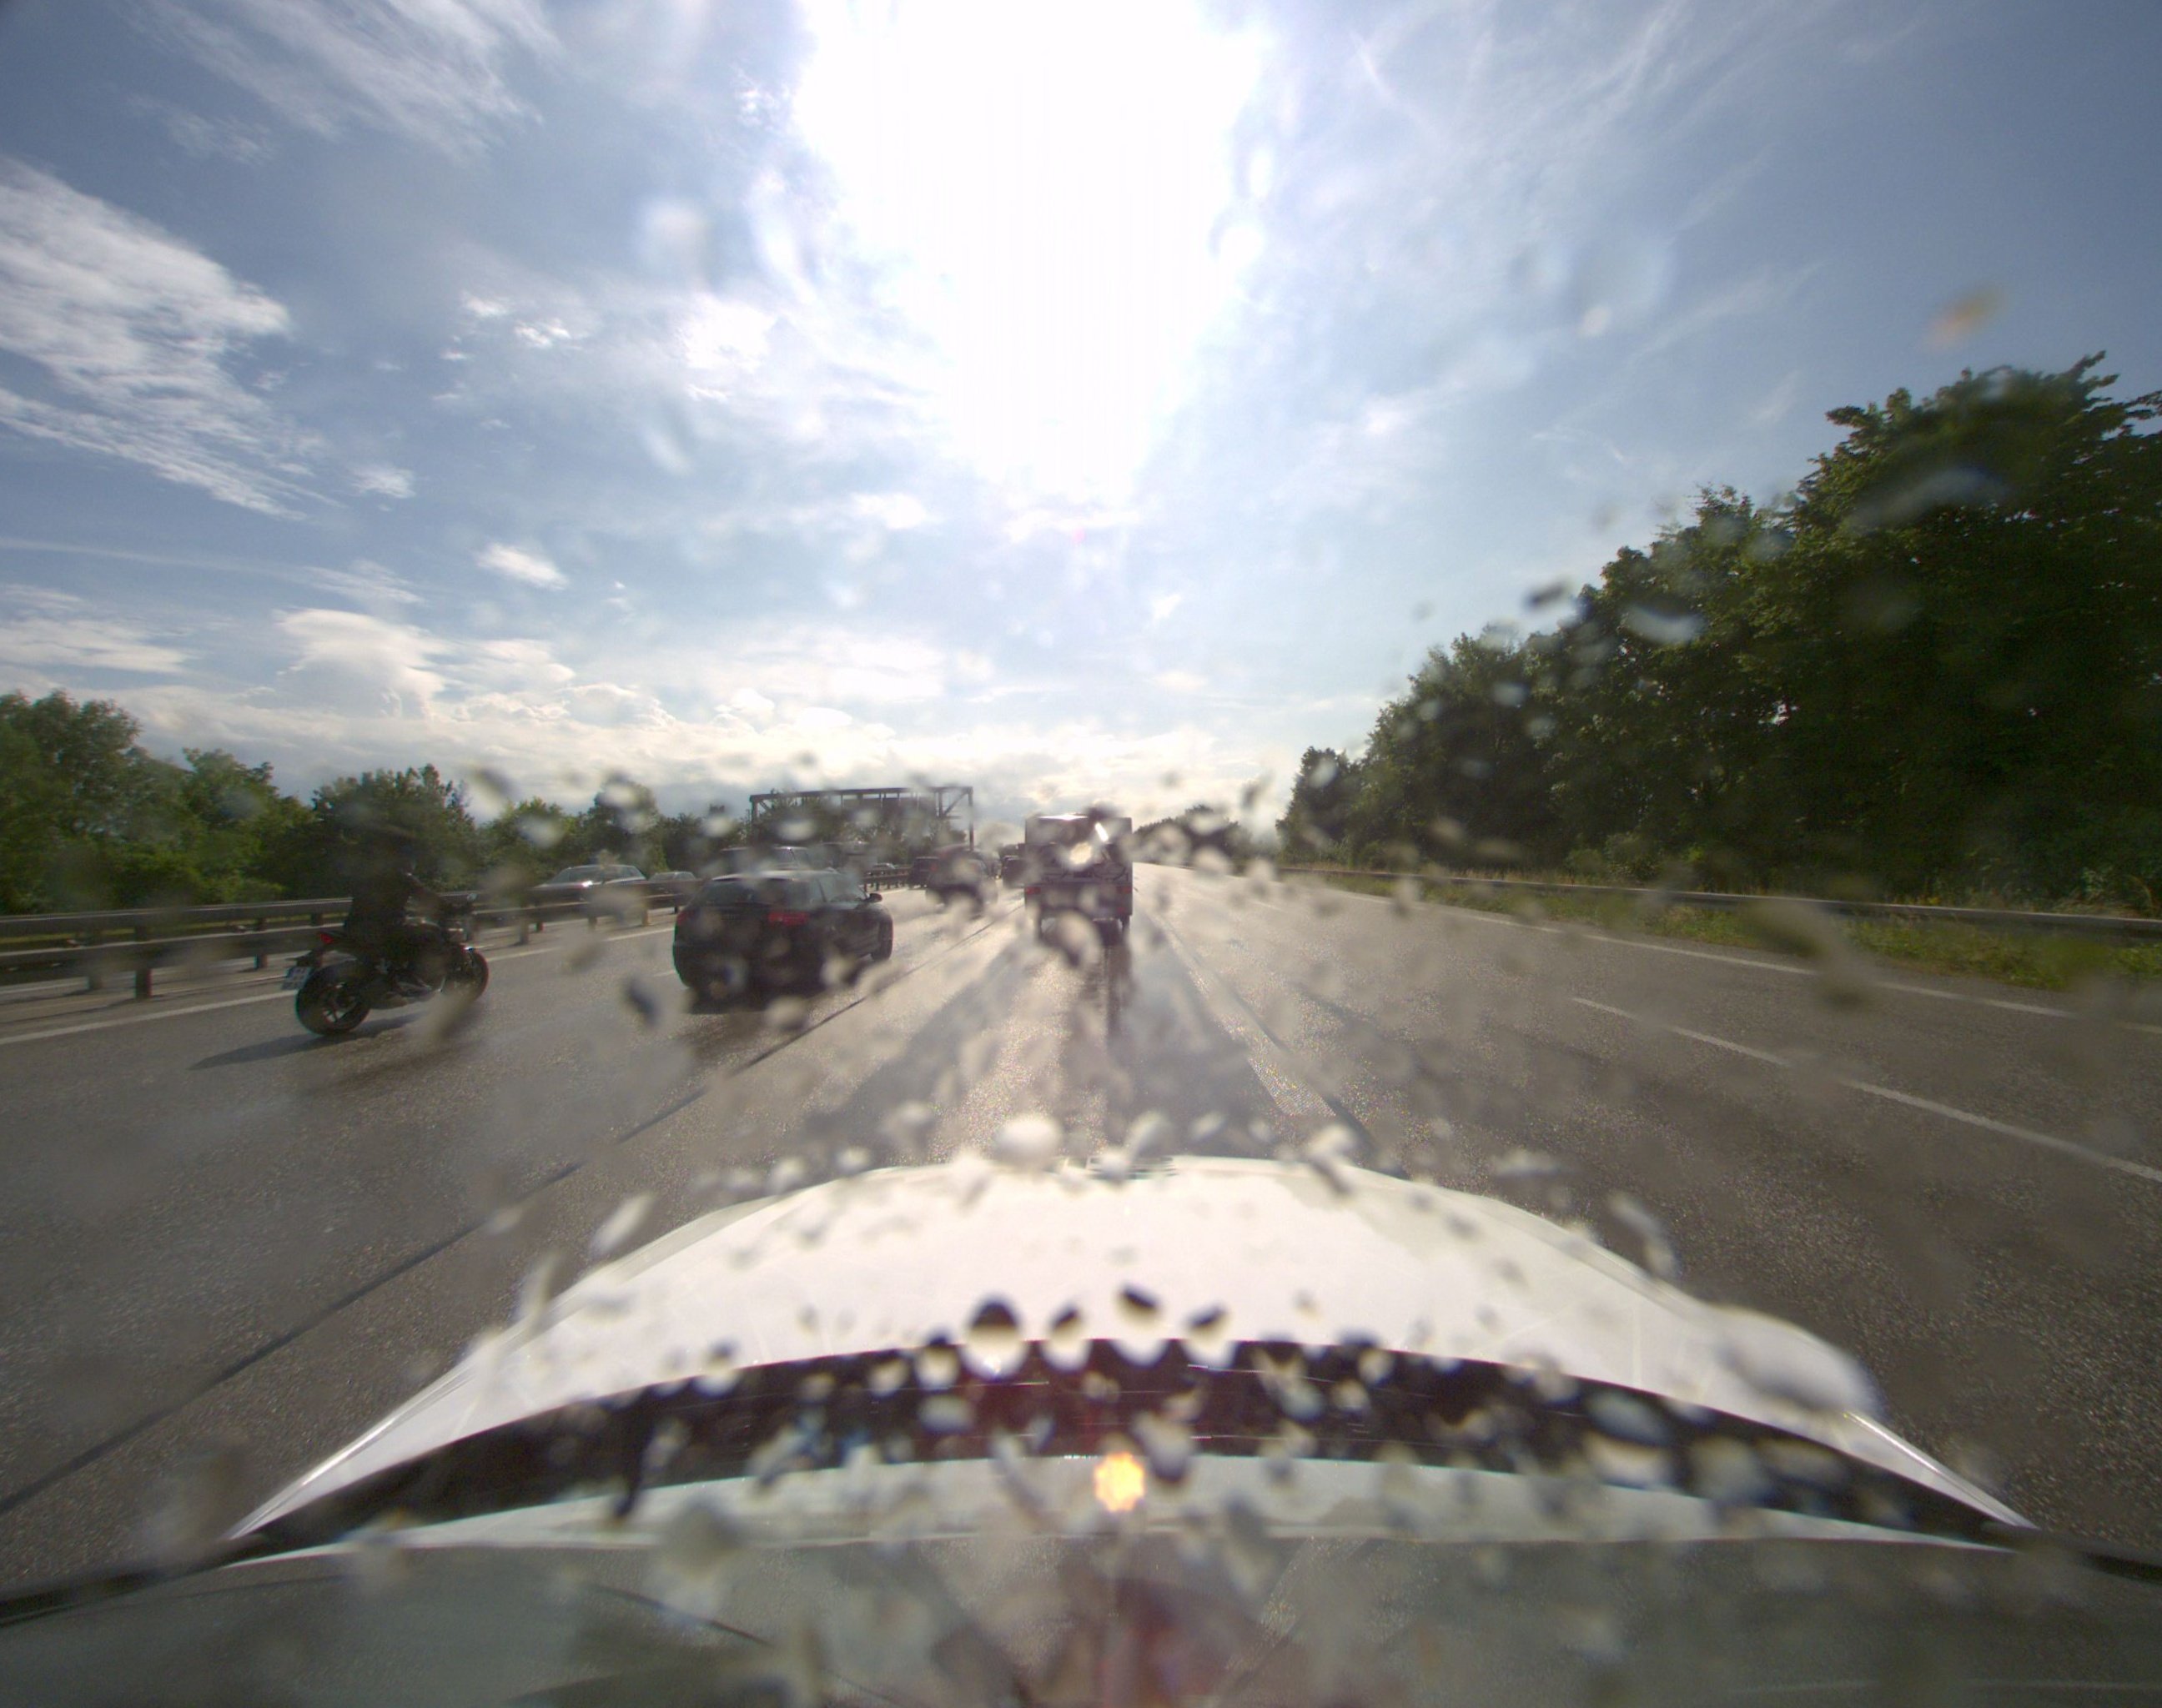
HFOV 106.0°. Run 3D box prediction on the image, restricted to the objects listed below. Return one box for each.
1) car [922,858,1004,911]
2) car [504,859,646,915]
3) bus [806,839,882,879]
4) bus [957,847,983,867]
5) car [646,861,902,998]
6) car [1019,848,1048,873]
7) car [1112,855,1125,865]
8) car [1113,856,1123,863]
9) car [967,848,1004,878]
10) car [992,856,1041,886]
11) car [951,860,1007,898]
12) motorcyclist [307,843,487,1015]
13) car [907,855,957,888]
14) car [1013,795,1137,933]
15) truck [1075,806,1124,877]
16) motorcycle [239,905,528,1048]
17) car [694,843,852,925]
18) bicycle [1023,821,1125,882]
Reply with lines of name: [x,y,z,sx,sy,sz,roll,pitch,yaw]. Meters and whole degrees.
car: [-3.518,0.862,24.982,1.751,1.443,4.003,-1,0,3]
car: [-15.440,0.960,25.136,1.793,1.544,4.001,-1,0,1]
bus: [-21.556,0.451,75.017,2.880,3.374,12.476,-1,0,2]
bus: [-19.519,0.544,144.469,2.930,3.286,12.208,-1,0,0]
car: [-3.793,0.843,10.903,1.743,1.433,4.056,-1,0,2]
car: [-3.291,0.435,56.791,1.682,1.662,3.642,-1,0,1]
car: [6.317,0.966,136.034,1.831,1.558,3.997,0,0,-2]
car: [7.684,1.131,169.696,1.872,1.494,3.997,0,0,-2]
car: [-6.574,0.605,56.765,1.841,1.934,5.017,-1,0,1]
car: [-3.247,0.830,41.599,1.979,1.458,3.829,-1,0,2]
car: [-4.434,1.063,35.844,1.856,1.508,4.000,-1,0,1]
motorcyclist: [-6.576,0.676,7.899,0.793,1.537,1.093,-1,0,1]
car: [-7.542,0.866,41.612,1.777,1.578,3.916,-1,0,1]
car: [-0.035,0.212,17.903,2.401,2.674,4.002,-1,0,2]
truck: [1.296,-0.815,59.039,3.135,4.626,10.737,-1,0,1]
motorcycle: [-6.570,1.083,7.915,0.688,1.027,2.389,-1,0,2]
car: [-7.771,0.673,21.231,1.799,1.844,5.421,-1,0,3]
bicycle: [-0.129,-0.038,15.701,1.925,1.141,0.384,-1,-1,3]
